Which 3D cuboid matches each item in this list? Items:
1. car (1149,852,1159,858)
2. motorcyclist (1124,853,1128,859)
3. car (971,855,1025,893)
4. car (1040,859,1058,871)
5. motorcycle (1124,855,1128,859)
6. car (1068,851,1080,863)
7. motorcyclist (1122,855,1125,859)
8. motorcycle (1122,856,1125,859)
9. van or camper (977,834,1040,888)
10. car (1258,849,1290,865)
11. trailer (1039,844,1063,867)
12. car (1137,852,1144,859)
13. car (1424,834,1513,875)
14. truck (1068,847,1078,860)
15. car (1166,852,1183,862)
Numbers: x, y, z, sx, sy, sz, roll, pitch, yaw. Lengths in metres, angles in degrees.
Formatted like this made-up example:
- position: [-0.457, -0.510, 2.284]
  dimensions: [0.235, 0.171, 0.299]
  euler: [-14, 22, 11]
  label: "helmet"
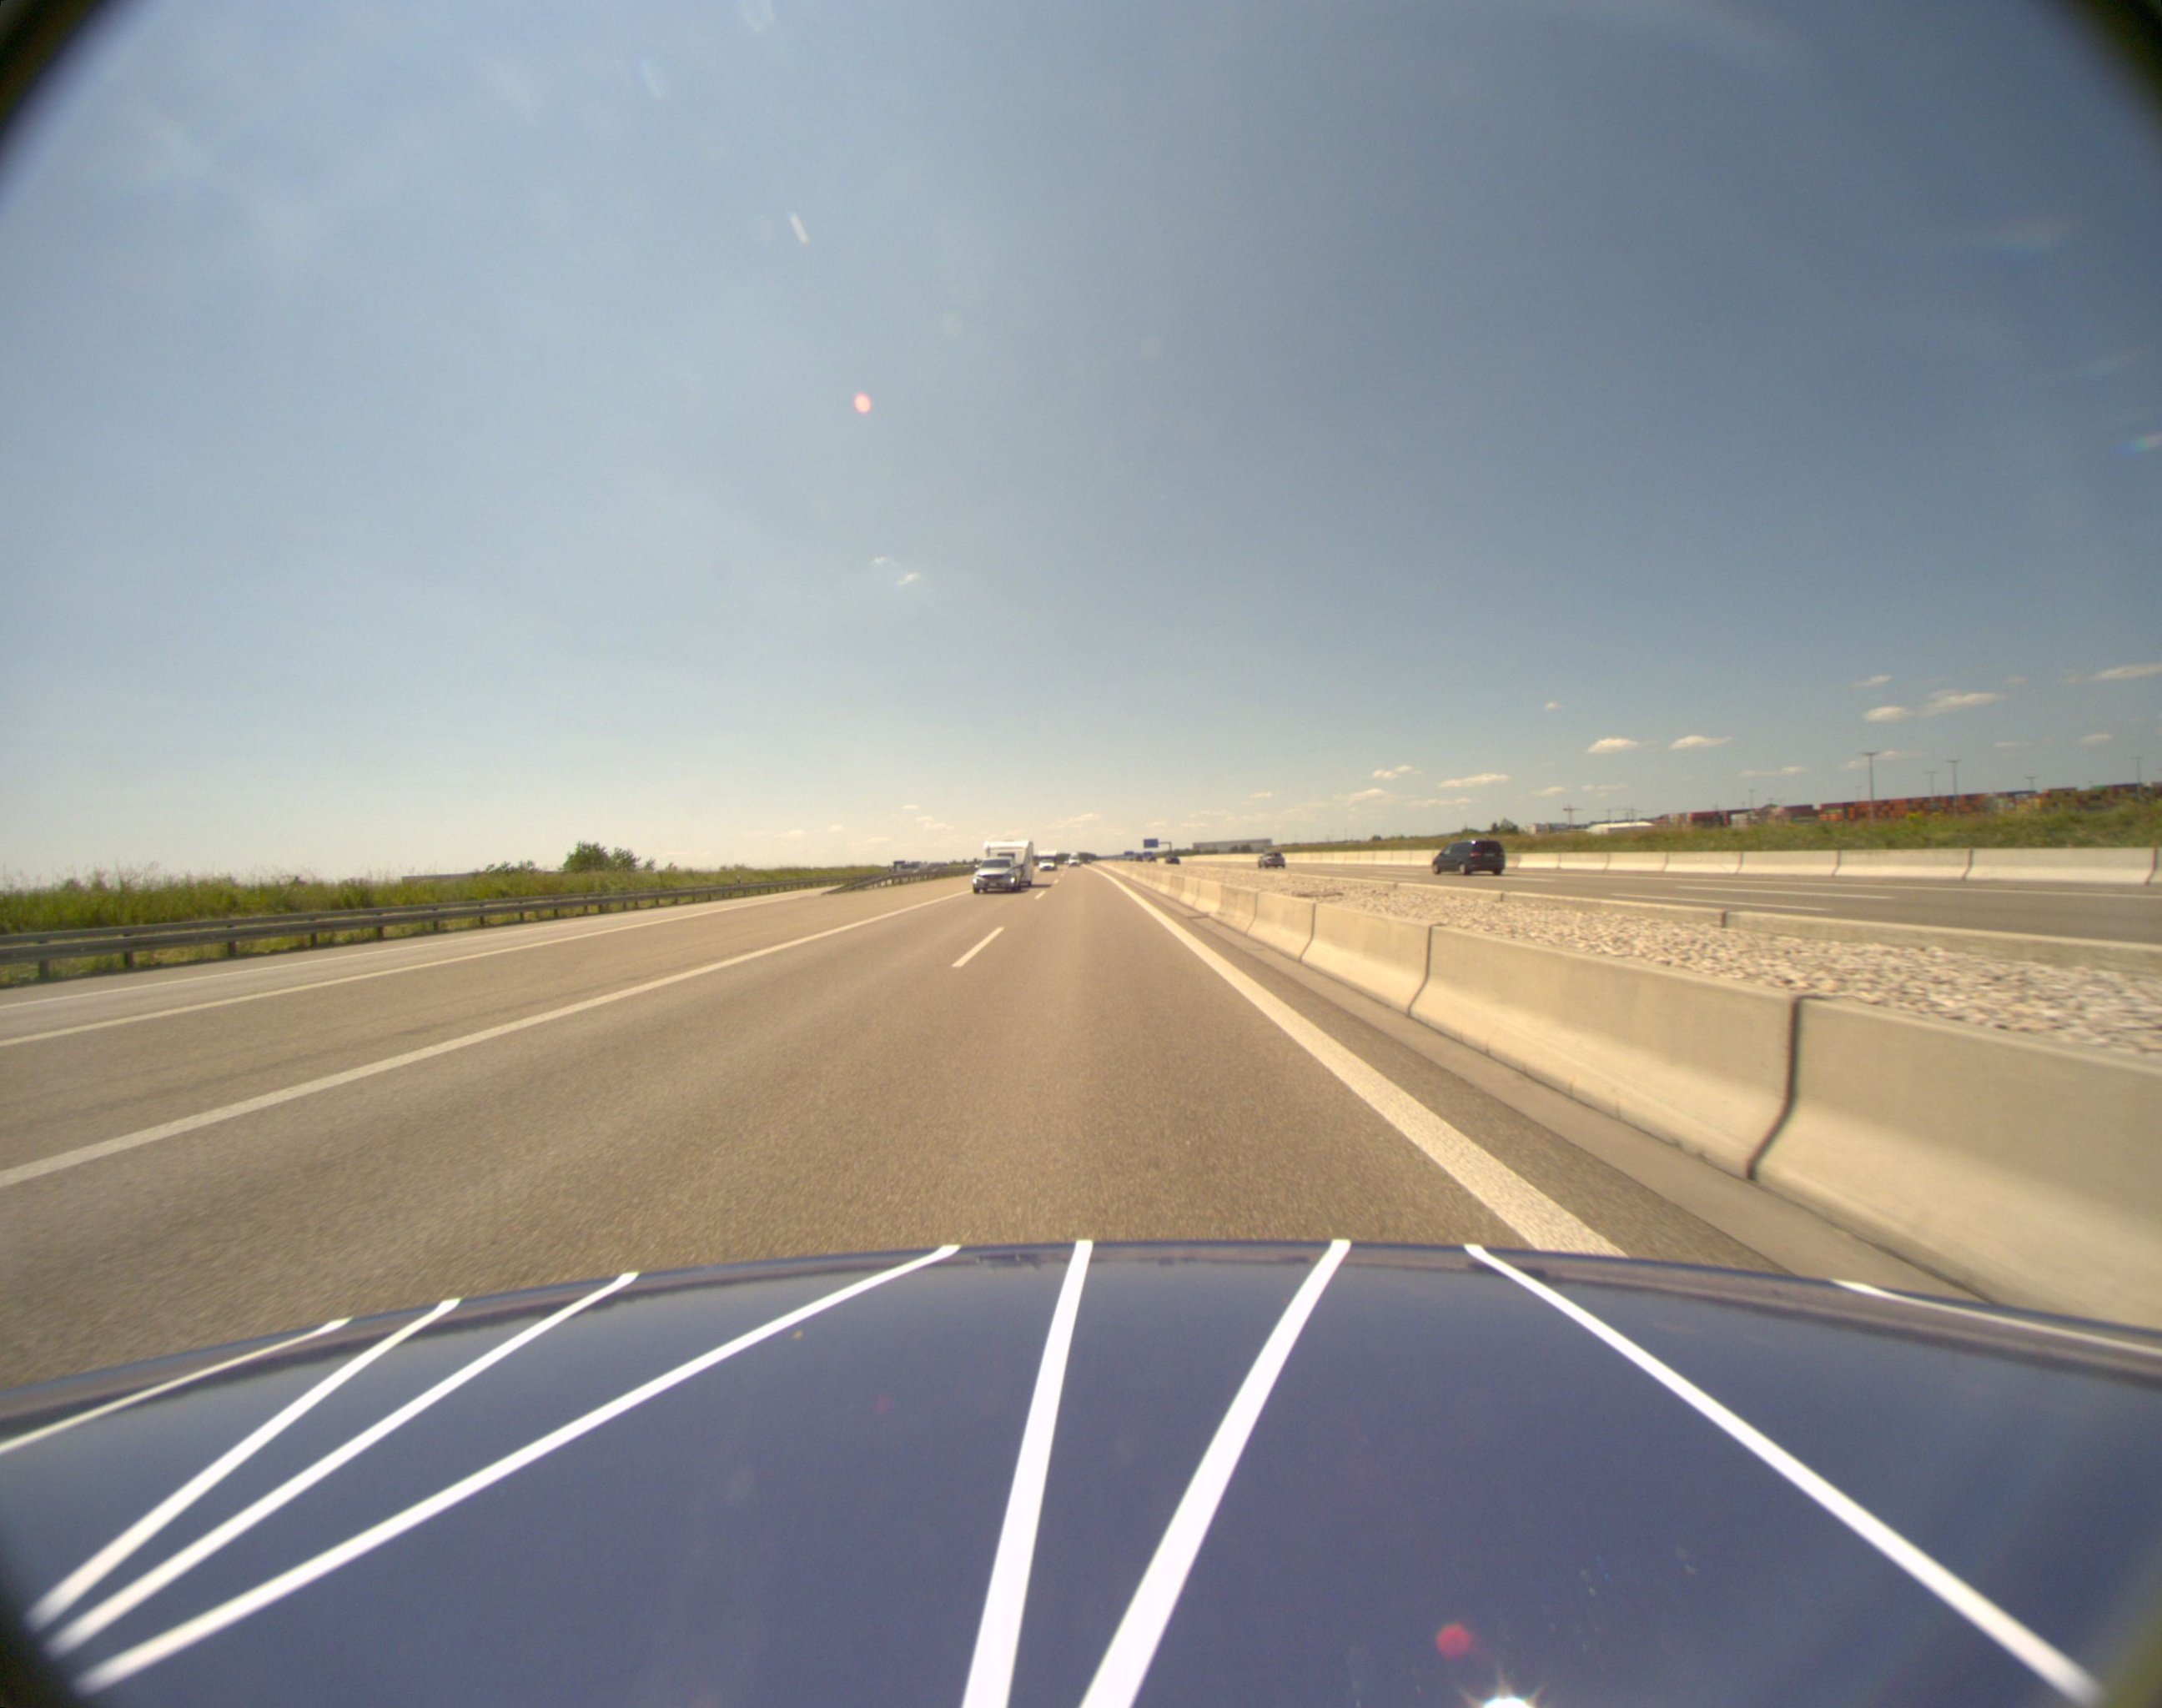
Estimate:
- position: [17.732, 0.210, 185.404]
  dimensions: [1.873, 1.483, 5.137]
  euler: [-2, 1, 0]
  label: "car"
- position: [13.841, 0.640, 232.778]
  dimensions: [0.922, 1.612, 1.088]
  euler: [-2, 0, 0]
  label: "motorcyclist"
- position: [-3.766, 0.892, 35.293]
  dimensions: [1.885, 1.613, 4.904]
  euler: [-2, -1, 1]
  label: "car"
- position: [-3.822, 1.341, 92.402]
  dimensions: [1.872, 1.351, 3.673]
  euler: [-1, -1, 2]
  label: "car"
- position: [13.856, 0.985, 232.747]
  dimensions: [0.960, 1.162, 2.722]
  euler: [-2, 0, 0]
  label: "motorcycle"
- position: [-1.255, 0.486, 135.073]
  dimensions: [1.998, 2.002, 4.000]
  euler: [-2, 0, 0]
  label: "car"
- position: [14.526, 0.947, 259.076]
  dimensions: [0.920, 1.488, 0.923]
  euler: [-2, 0, 1]
  label: "motorcyclist"
- position: [14.479, 1.312, 258.882]
  dimensions: [0.777, 0.897, 2.705]
  euler: [-2, 0, 1]
  label: "motorcycle"
- position: [-3.796, 0.396, 41.531]
  dimensions: [2.518, 2.577, 7.818]
  euler: [-2, -1, 1]
  label: "van or camper"
- position: [17.166, 0.281, 67.699]
  dimensions: [1.895, 1.321, 3.986]
  euler: [-2, 0, 1]
  label: "car"
- position: [-3.776, 0.235, 97.805]
  dimensions: [2.500, 2.686, 7.156]
  euler: [-2, -1, 2]
  label: "trailer"
- position: [17.424, 0.393, 222.428]
  dimensions: [1.889, 2.006, 4.735]
  euler: [-2, 0, 1]
  label: "car"
- position: [18.994, 0.017, 37.513]
  dimensions: [1.851, 1.813, 4.921]
  euler: [-2, 0, 0]
  label: "car"
- position: [-1.771, -0.130, 175.984]
  dimensions: [2.168, 2.797, 6.490]
  euler: [-2, 0, 0]
  label: "truck"
- position: [13.381, 0.445, 109.087]
  dimensions: [1.848, 1.374, 4.752]
  euler: [-2, 0, 2]
  label: "car"
